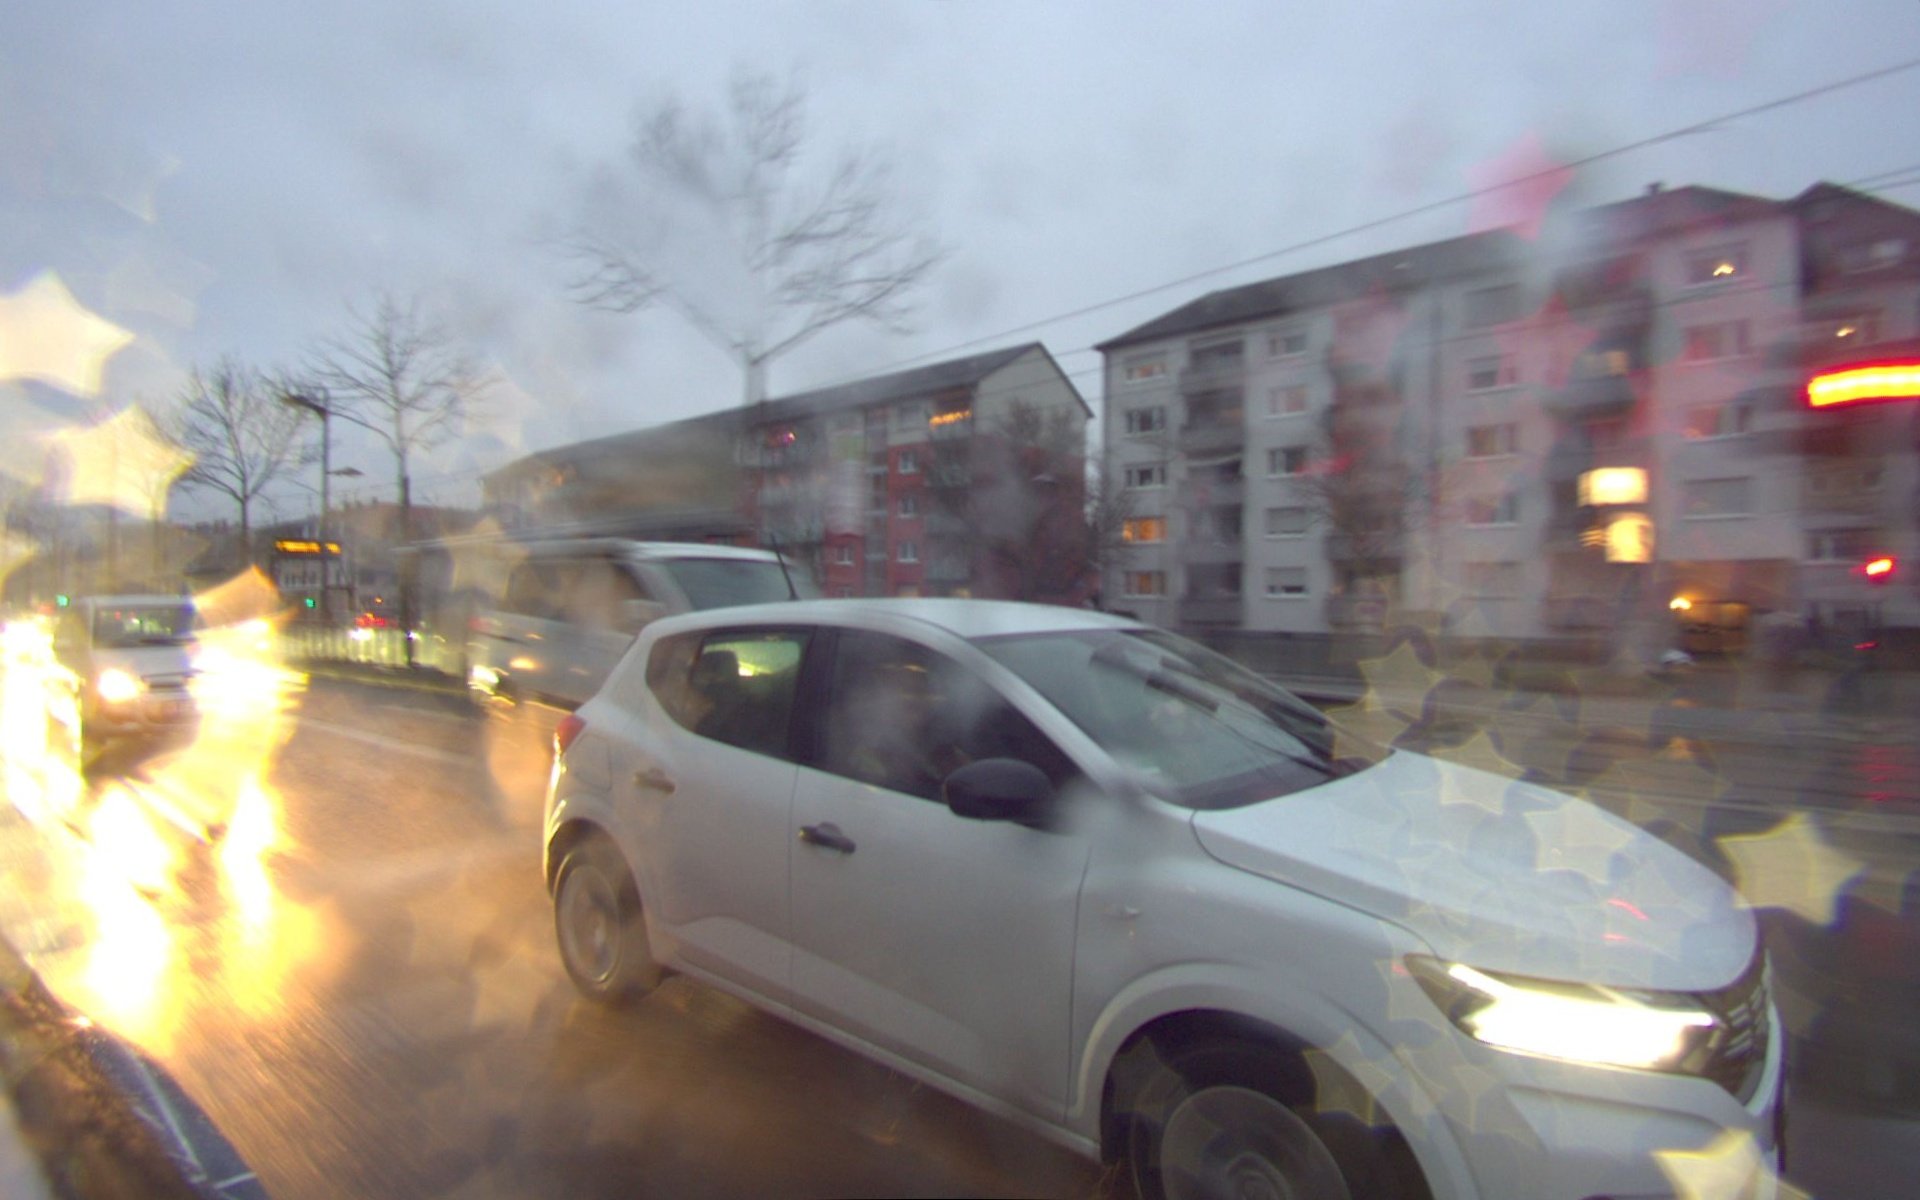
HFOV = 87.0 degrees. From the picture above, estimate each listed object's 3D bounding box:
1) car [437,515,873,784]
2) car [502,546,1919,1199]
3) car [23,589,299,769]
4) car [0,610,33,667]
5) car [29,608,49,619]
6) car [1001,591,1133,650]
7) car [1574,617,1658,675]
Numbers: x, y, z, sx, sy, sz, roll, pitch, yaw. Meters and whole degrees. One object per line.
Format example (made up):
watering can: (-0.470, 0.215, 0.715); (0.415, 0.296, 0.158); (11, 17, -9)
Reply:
car: (-3.233, 0.404, 10.084); (4.882, 2.049, 1.931); (-1, -1, 42)
car: (0.359, 0.649, 3.196); (3.995, 1.477, 1.691); (0, 1, 39)
car: (-9.278, 0.726, 11.634); (4.001, 1.690, 1.993); (1, 1, 44)
car: (-27.419, 1.067, 28.134); (4.088, 1.513, 1.950); (-1, 0, 40)
car: (-144.143, 2.131, 158.386); (3.742, 1.651, 1.509); (0, -1, 36)
car: (3.226, 0.573, 30.835); (3.731, 1.701, 1.692); (0, 1, 42)
car: (17.908, 1.194, 27.556); (1.695, 1.377, 3.763); (0, 1, 36)
